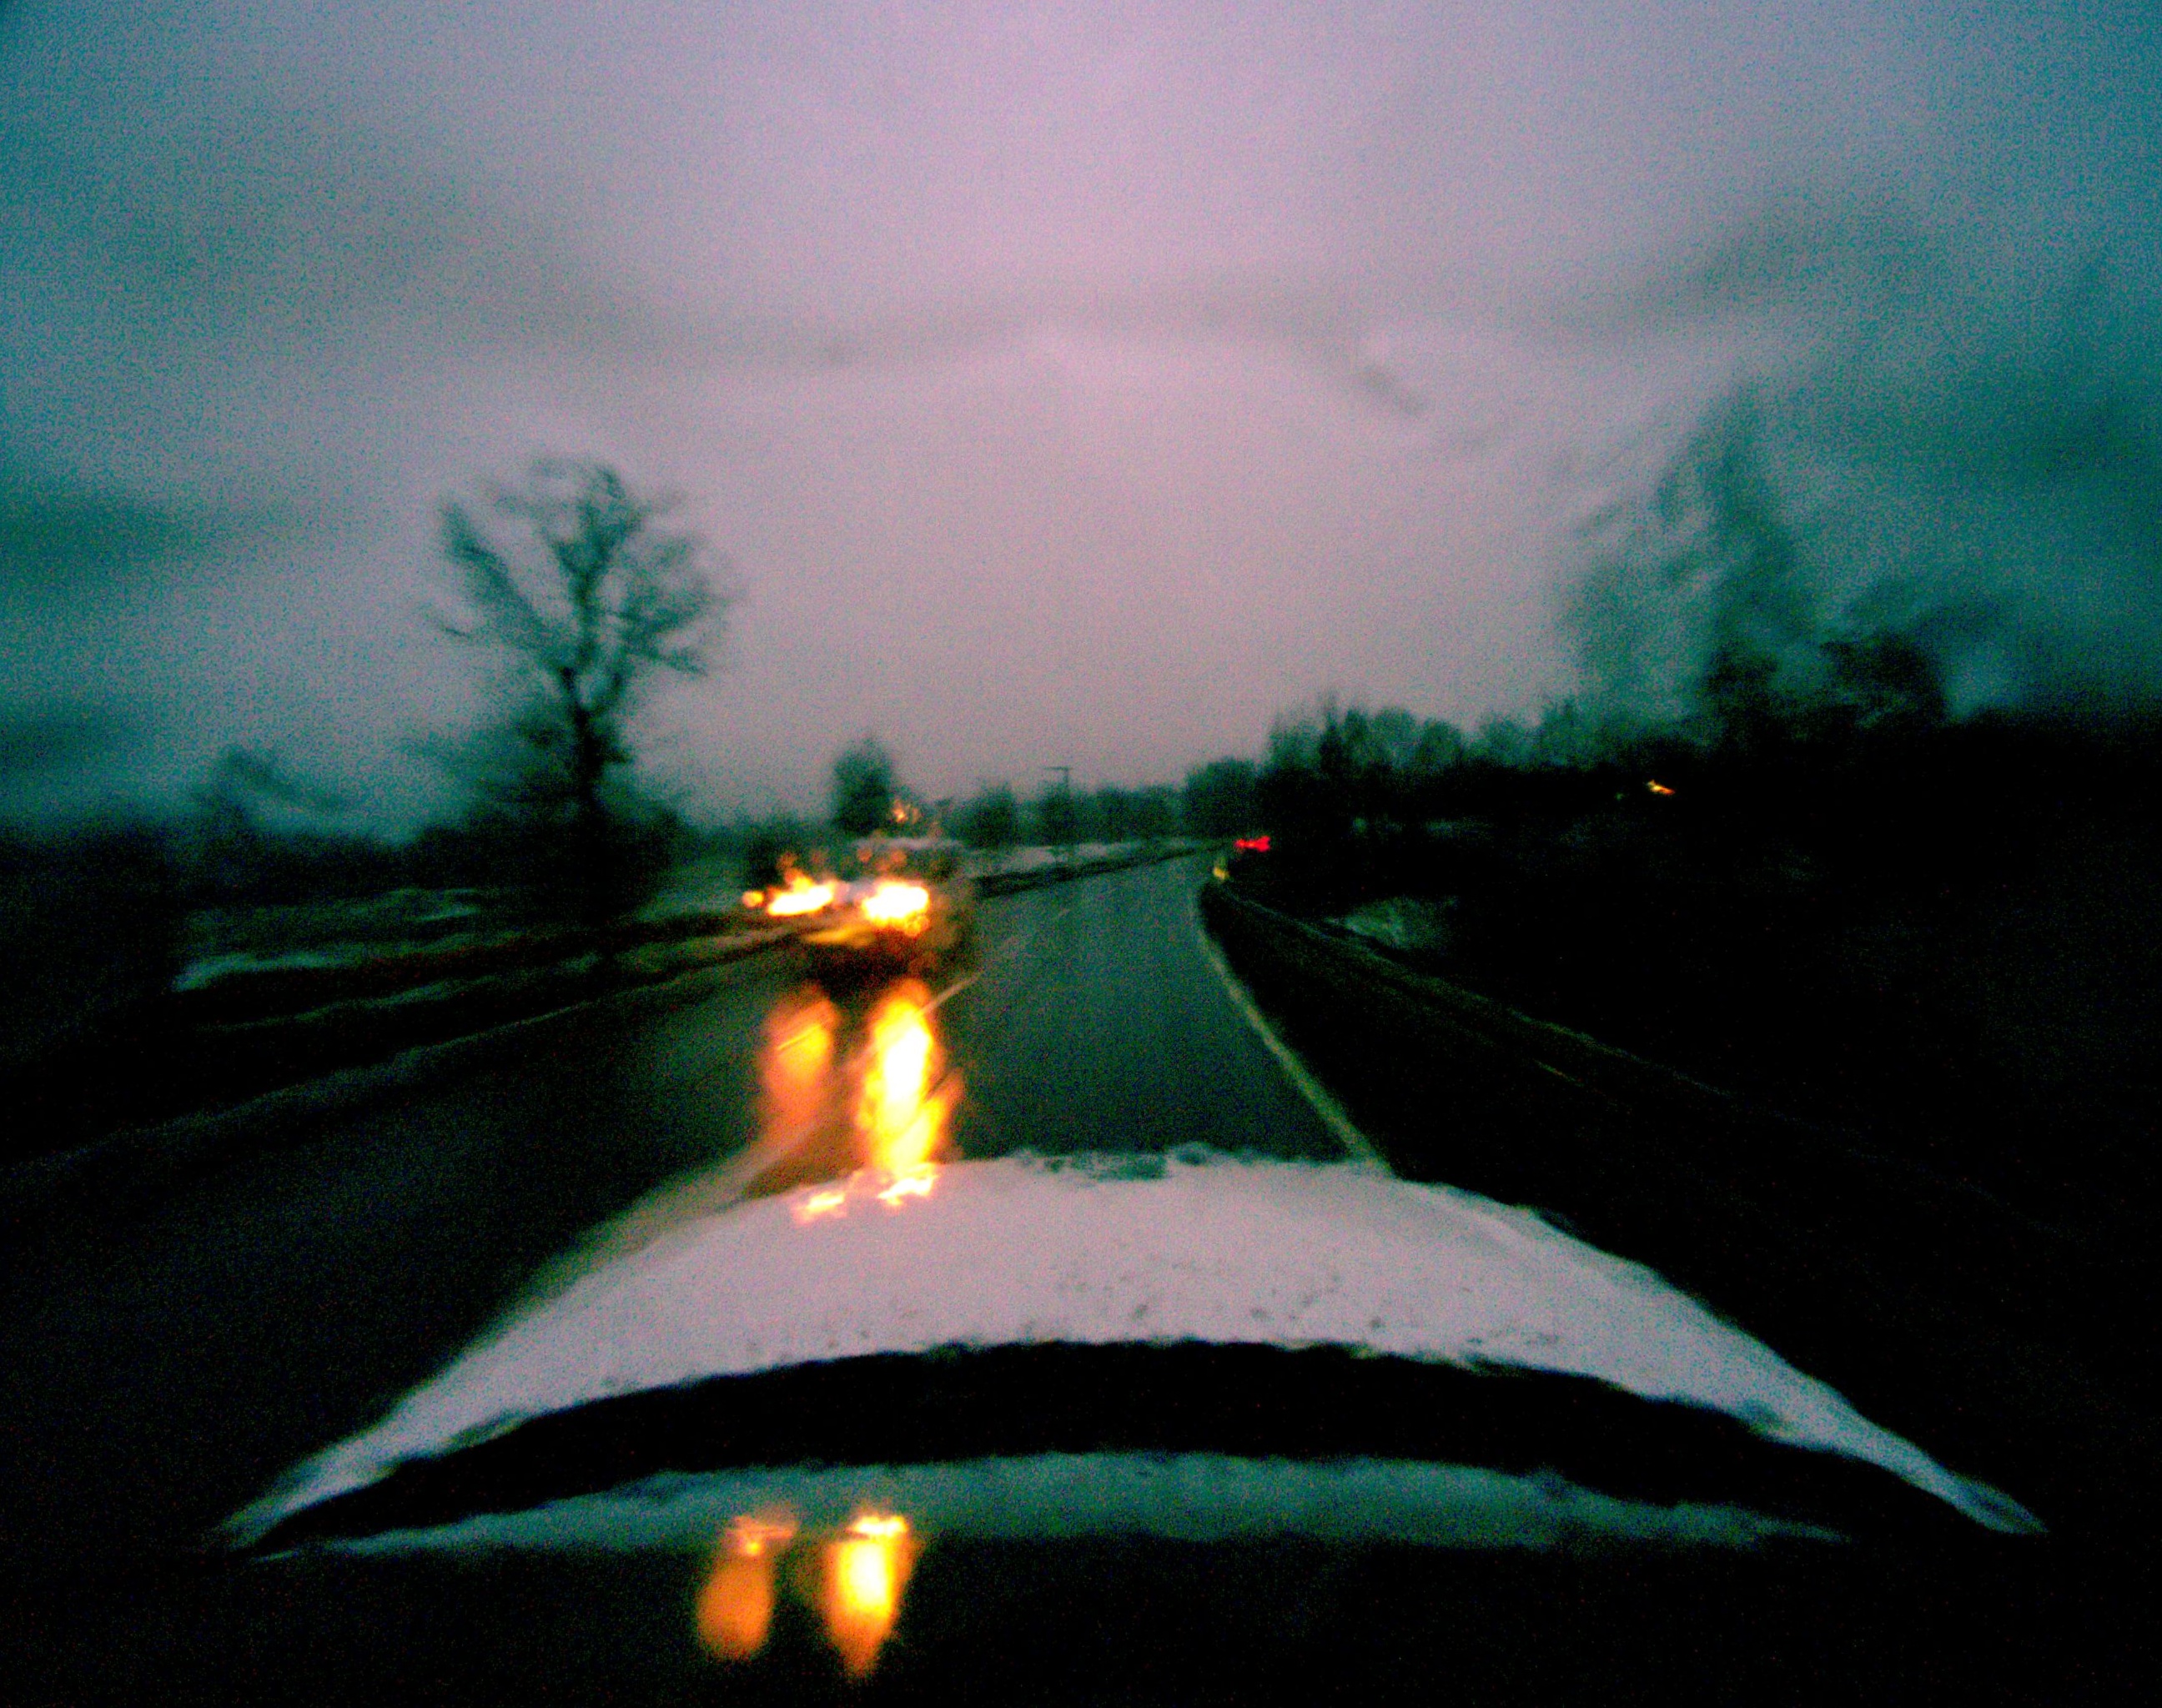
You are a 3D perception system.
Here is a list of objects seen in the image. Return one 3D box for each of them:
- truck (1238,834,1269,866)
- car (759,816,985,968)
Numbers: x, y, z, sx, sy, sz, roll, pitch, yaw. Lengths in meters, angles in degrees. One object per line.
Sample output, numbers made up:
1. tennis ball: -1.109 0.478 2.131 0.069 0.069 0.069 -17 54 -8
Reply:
1. truck: 17.765 -0.478 83.747 2.512 2.868 5.950 -3 3 17
2. car: -2.942 0.457 12.802 1.875 1.863 5.012 -2 1 4
